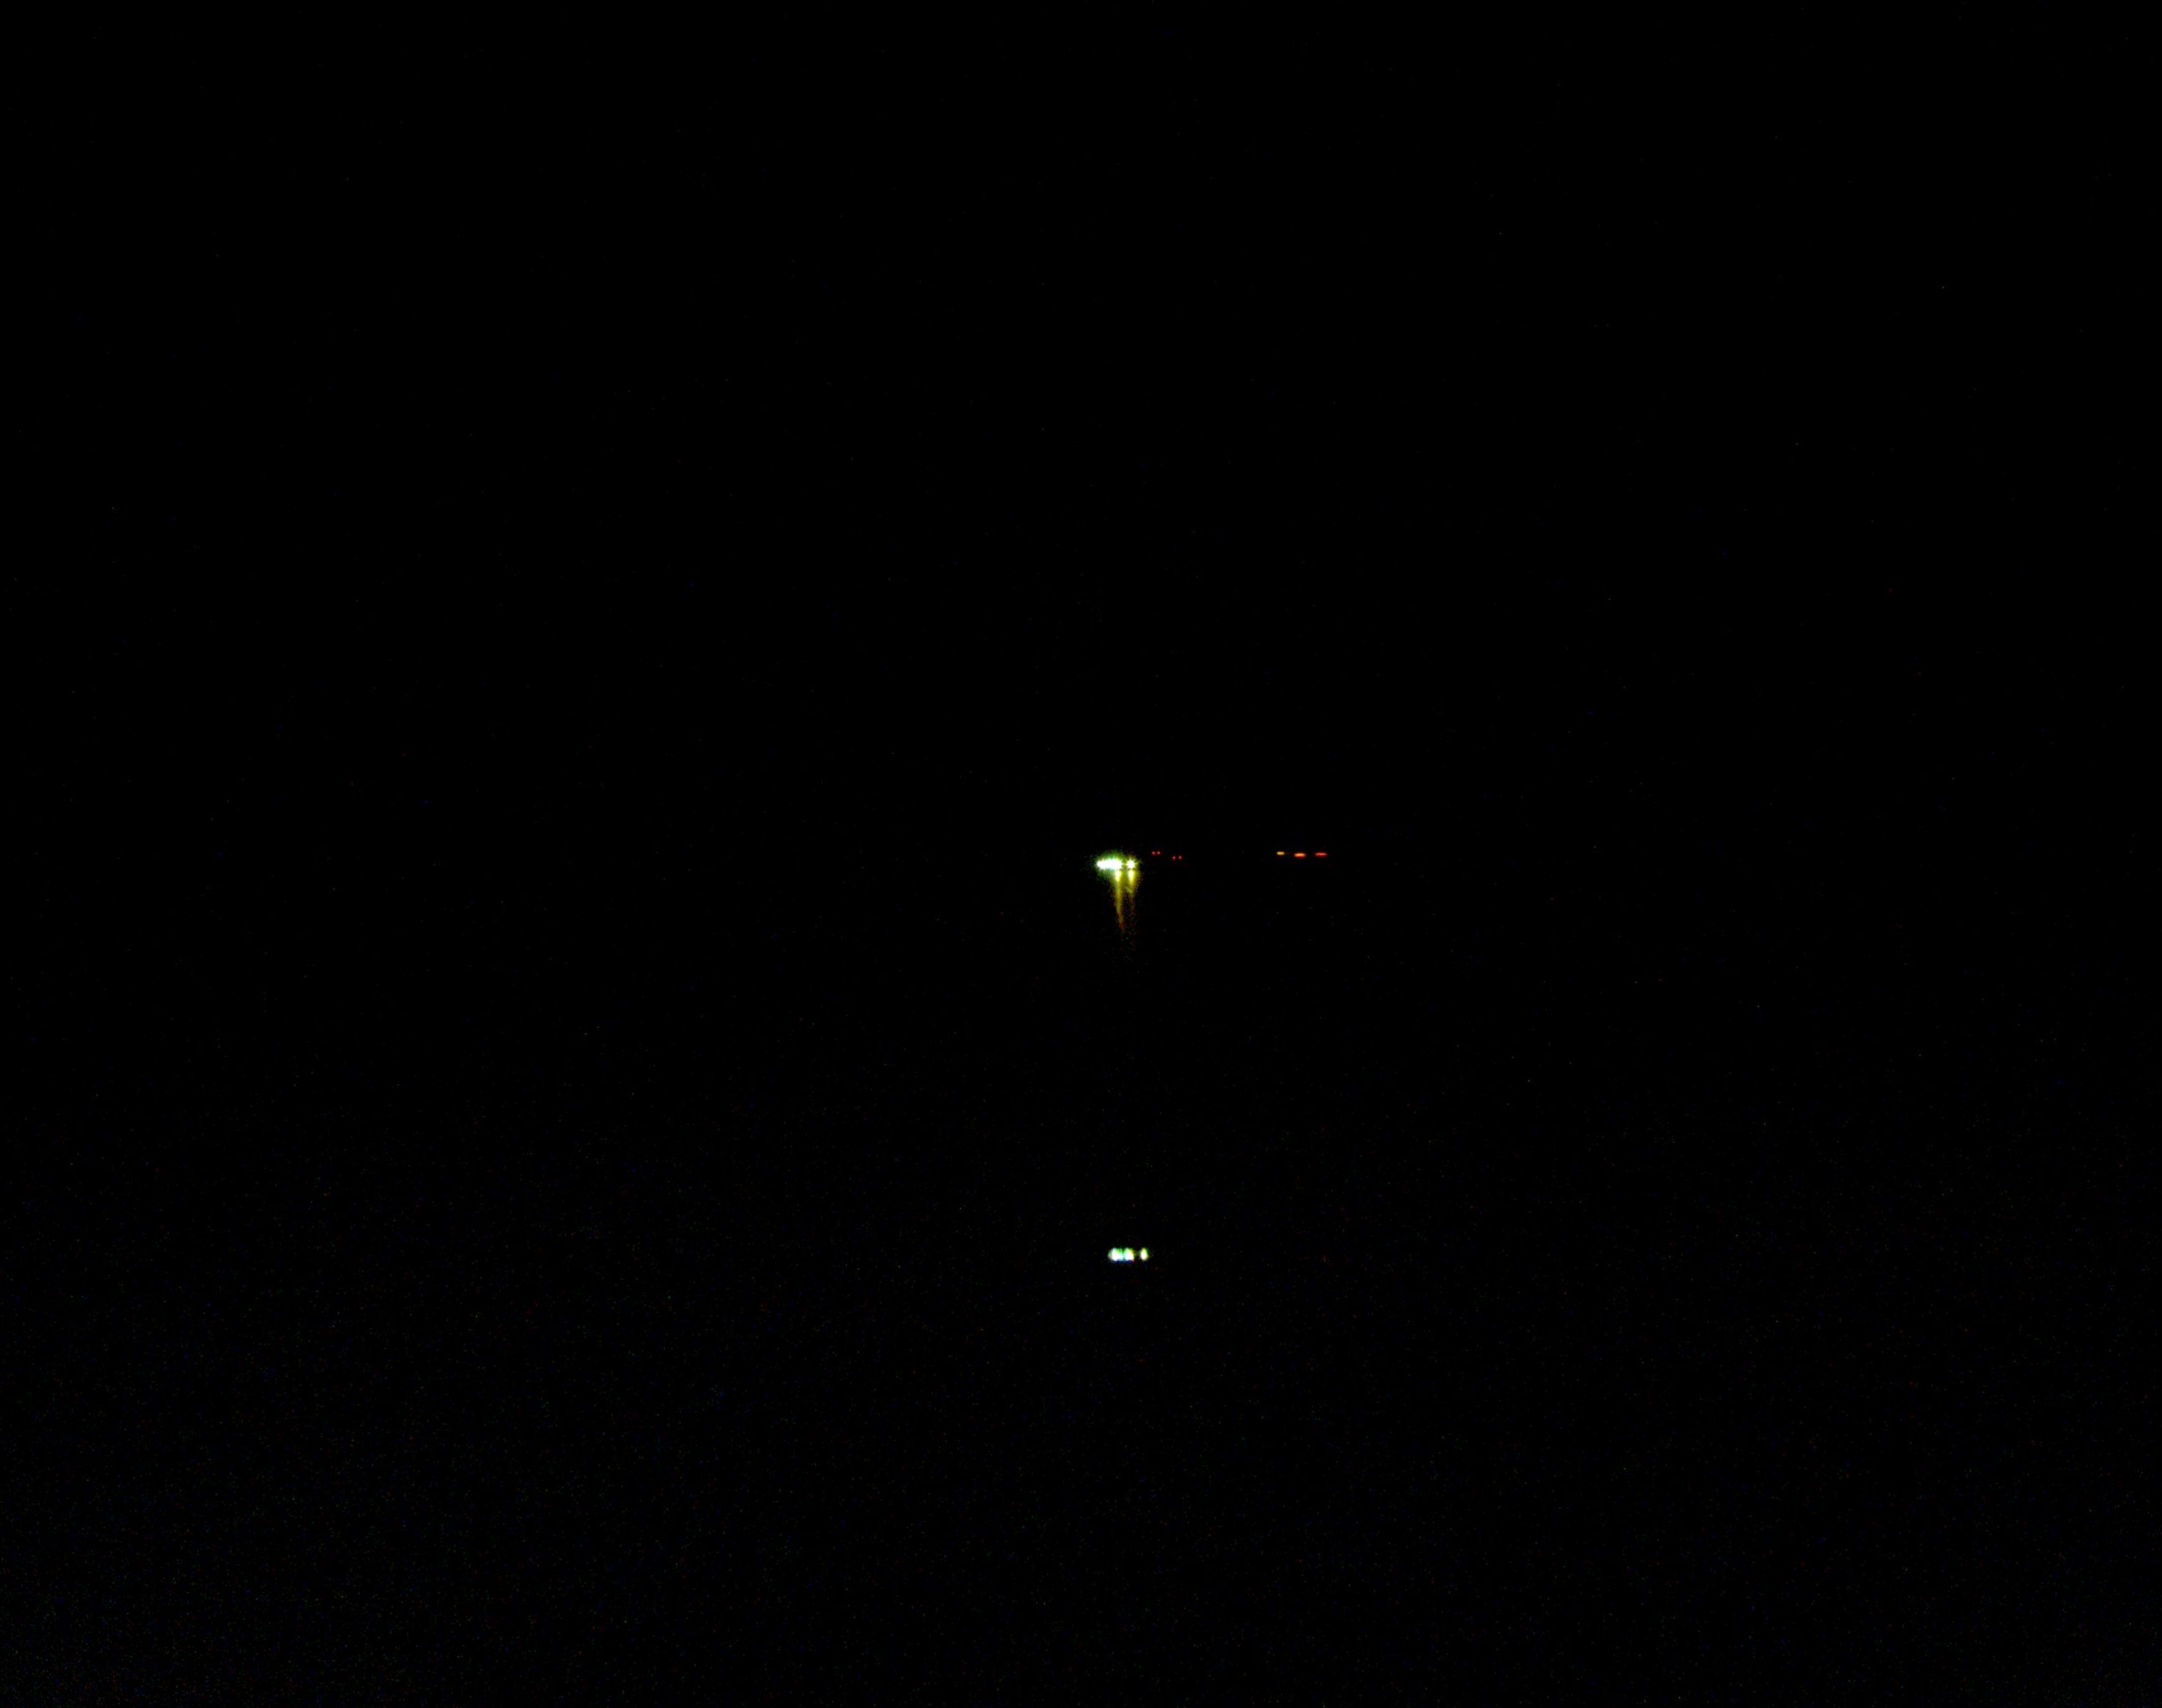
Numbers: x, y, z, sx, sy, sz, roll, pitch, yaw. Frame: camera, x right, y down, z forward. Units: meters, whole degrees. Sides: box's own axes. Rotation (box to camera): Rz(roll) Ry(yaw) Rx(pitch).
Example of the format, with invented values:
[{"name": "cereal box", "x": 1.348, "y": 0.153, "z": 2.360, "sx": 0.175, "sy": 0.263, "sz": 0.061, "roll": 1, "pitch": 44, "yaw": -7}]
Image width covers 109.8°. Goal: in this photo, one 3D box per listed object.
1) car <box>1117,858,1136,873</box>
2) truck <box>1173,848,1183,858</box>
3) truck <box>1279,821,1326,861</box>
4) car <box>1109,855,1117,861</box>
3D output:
[{"name": "car", "x": 5.307, "y": 1.315, "z": 88.483, "sx": 1.998, "sy": 1.422, "sz": 4.330, "roll": -5, "pitch": 0, "yaw": 2}, {"name": "truck", "x": 29.481, "y": -0.392, "z": 231.329, "sx": 2.202, "sy": 2.709, "sz": 7.626, "roll": -5, "pitch": -1, "yaw": 2}, {"name": "truck", "x": 23.396, "y": -1.314, "z": 80.648, "sx": 2.525, "sy": 3.829, "sz": 9.066, "roll": -2, "pitch": 0, "yaw": 2}, {"name": "car", "x": 9.982, "y": 1.166, "z": 235.450, "sx": 1.999, "sy": 1.724, "sz": 4.224, "roll": -2, "pitch": 0, "yaw": -1}]
